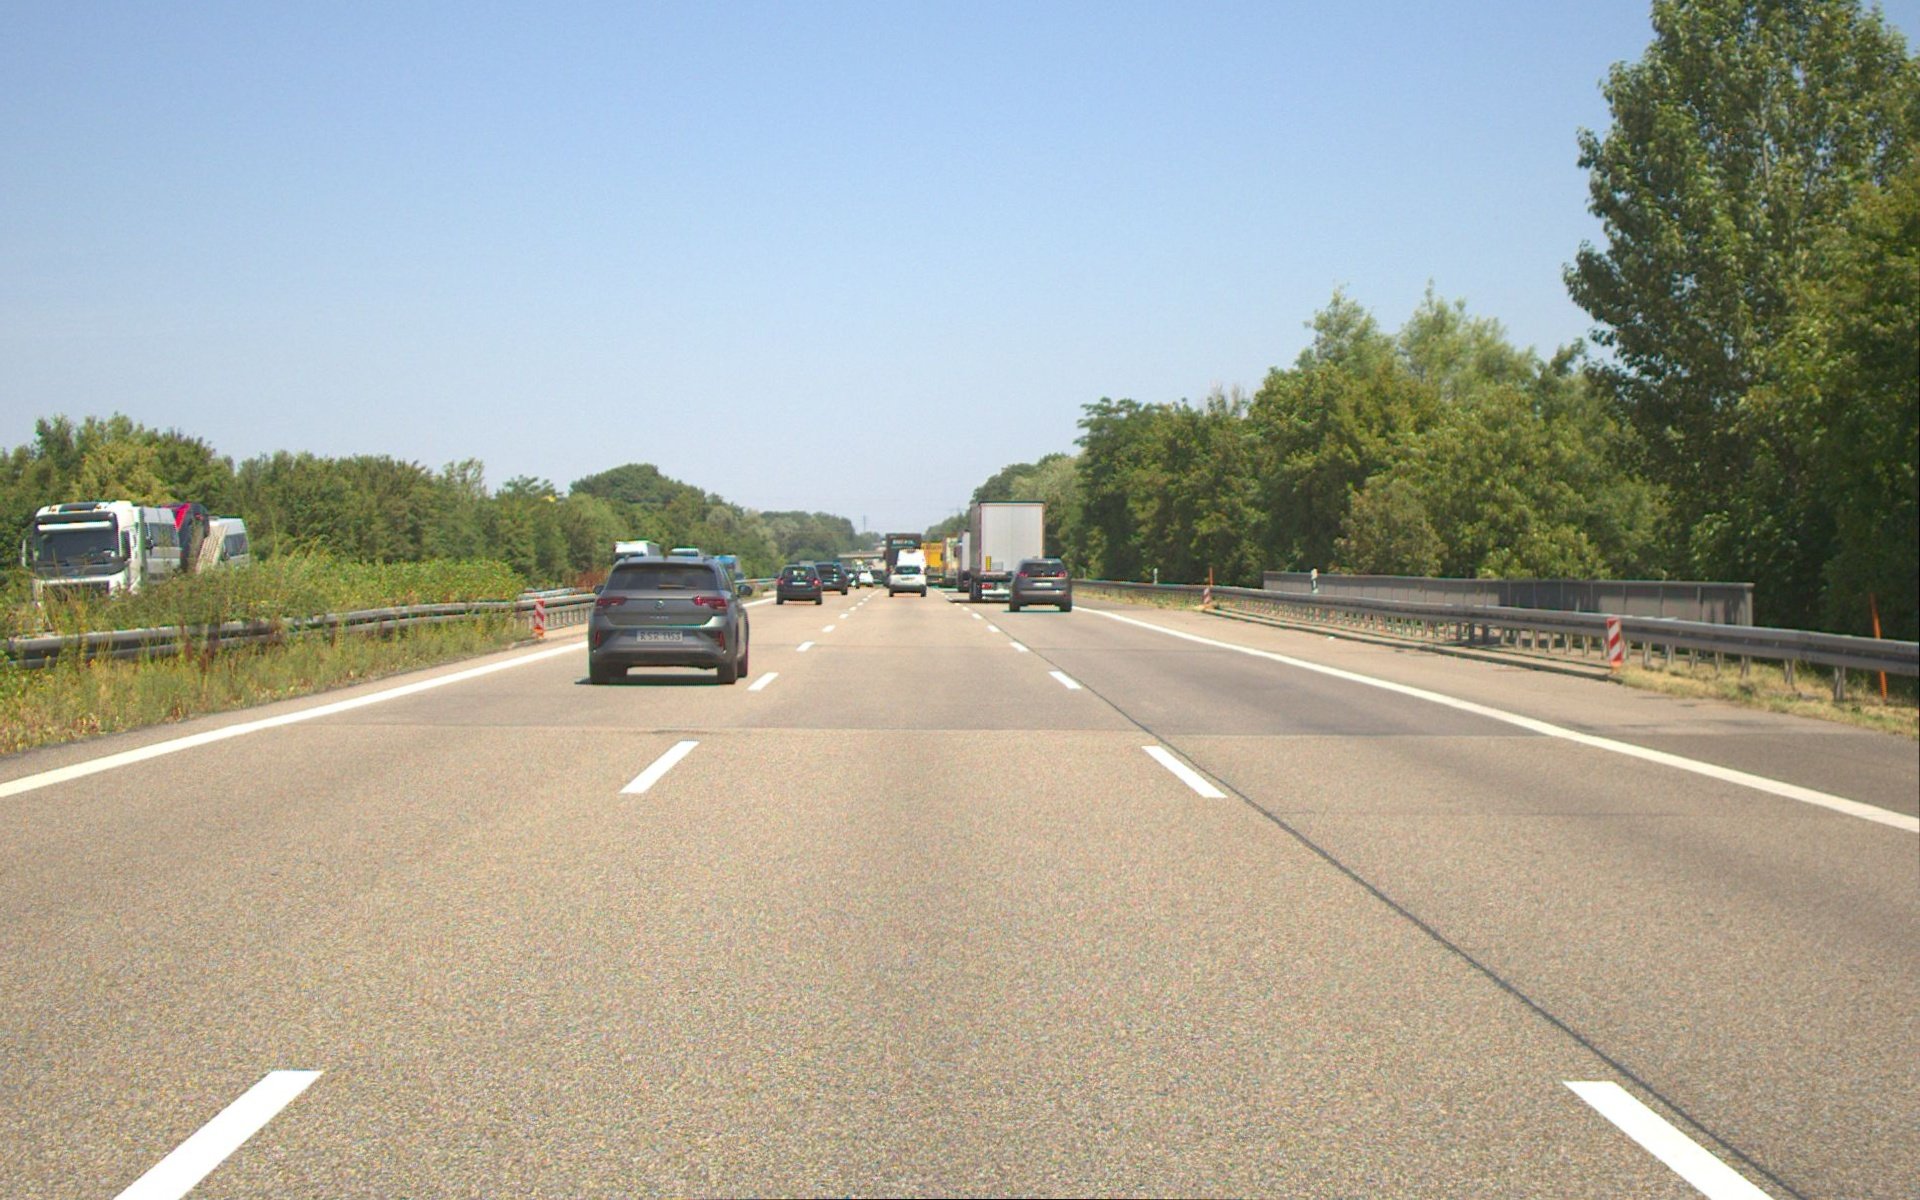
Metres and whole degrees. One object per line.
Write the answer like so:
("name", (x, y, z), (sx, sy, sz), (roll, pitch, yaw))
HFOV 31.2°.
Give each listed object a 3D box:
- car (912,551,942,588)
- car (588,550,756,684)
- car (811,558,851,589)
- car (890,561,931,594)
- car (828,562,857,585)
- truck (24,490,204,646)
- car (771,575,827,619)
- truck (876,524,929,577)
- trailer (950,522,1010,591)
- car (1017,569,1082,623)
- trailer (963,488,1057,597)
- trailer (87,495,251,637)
("car", (-2.199, -2.024, 226.961), (1.907, 2.417, 4.286), (1, 1, -1))
("car", (-3.517, 0.174, 42.663), (1.759, 1.525, 4.286), (1, 1, -1))
("car", (-6.533, -1.367, 174.815), (1.907, 1.525, 4.286), (1, 1, -1))
("car", (-2.376, -1.082, 165.691), (1.900, 1.525, 4.084), (1, 1, -1))
("car", (-8.283, -1.874, 242.779), (1.907, 1.525, 4.286), (1, 1, -1))
("truck", (-22.911, -0.905, 93.578), (2.917, 3.977, 9.625), (1, 1, -3))
("car", (-5.963, -0.110, 127.635), (1.900, 1.525, 4.084), (1, 1, -1))
("truck", (-4.181, -3.620, 251.274), (3.667, 3.713, 7.108), (1, 1, 0))
("trailer", (1.139, -2.584, 201.818), (3.122, 3.913, 9.937), (1, 1, -2))
("car", (2.740, -0.143, 106.231), (1.845, 1.623, 4.135), (0, 1, 0))
("trailer", (1.938, -2.233, 140.125), (3.434, 4.167, 13.633), (1, 0, -1))
("trailer", (-23.267, -1.036, 101.640), (2.925, 3.977, 9.660), (1, 1, -2))
